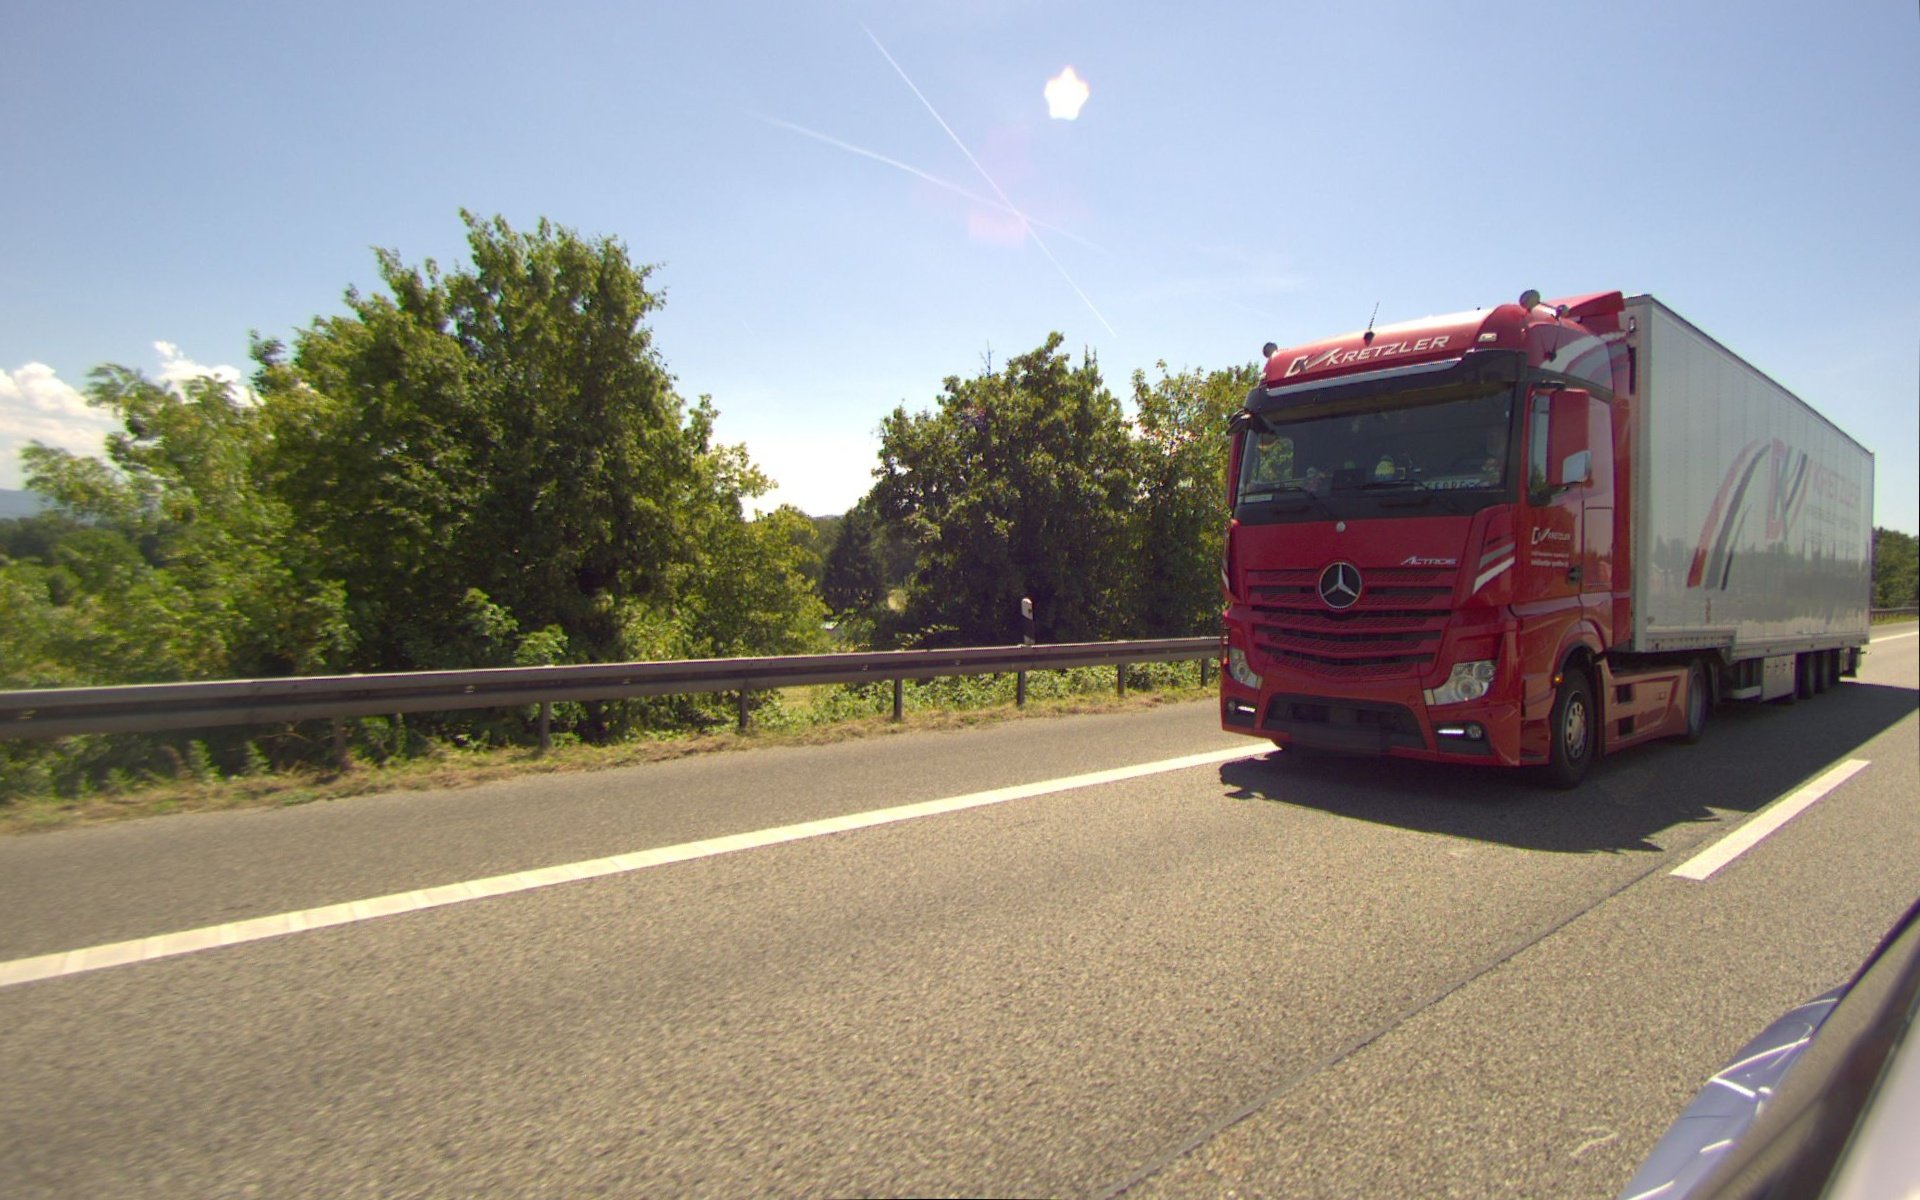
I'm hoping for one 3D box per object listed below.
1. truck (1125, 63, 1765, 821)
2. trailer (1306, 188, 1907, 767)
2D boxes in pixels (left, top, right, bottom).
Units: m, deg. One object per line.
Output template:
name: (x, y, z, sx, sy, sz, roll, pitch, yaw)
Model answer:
truck: (5.146, -1.039, 10.083, 6.848, 4.951, 3.240, 1, 0, -40)
trailer: (10.086, -1.023, 14.295, 13.780, 4.899, 3.276, 0, 0, -40)
